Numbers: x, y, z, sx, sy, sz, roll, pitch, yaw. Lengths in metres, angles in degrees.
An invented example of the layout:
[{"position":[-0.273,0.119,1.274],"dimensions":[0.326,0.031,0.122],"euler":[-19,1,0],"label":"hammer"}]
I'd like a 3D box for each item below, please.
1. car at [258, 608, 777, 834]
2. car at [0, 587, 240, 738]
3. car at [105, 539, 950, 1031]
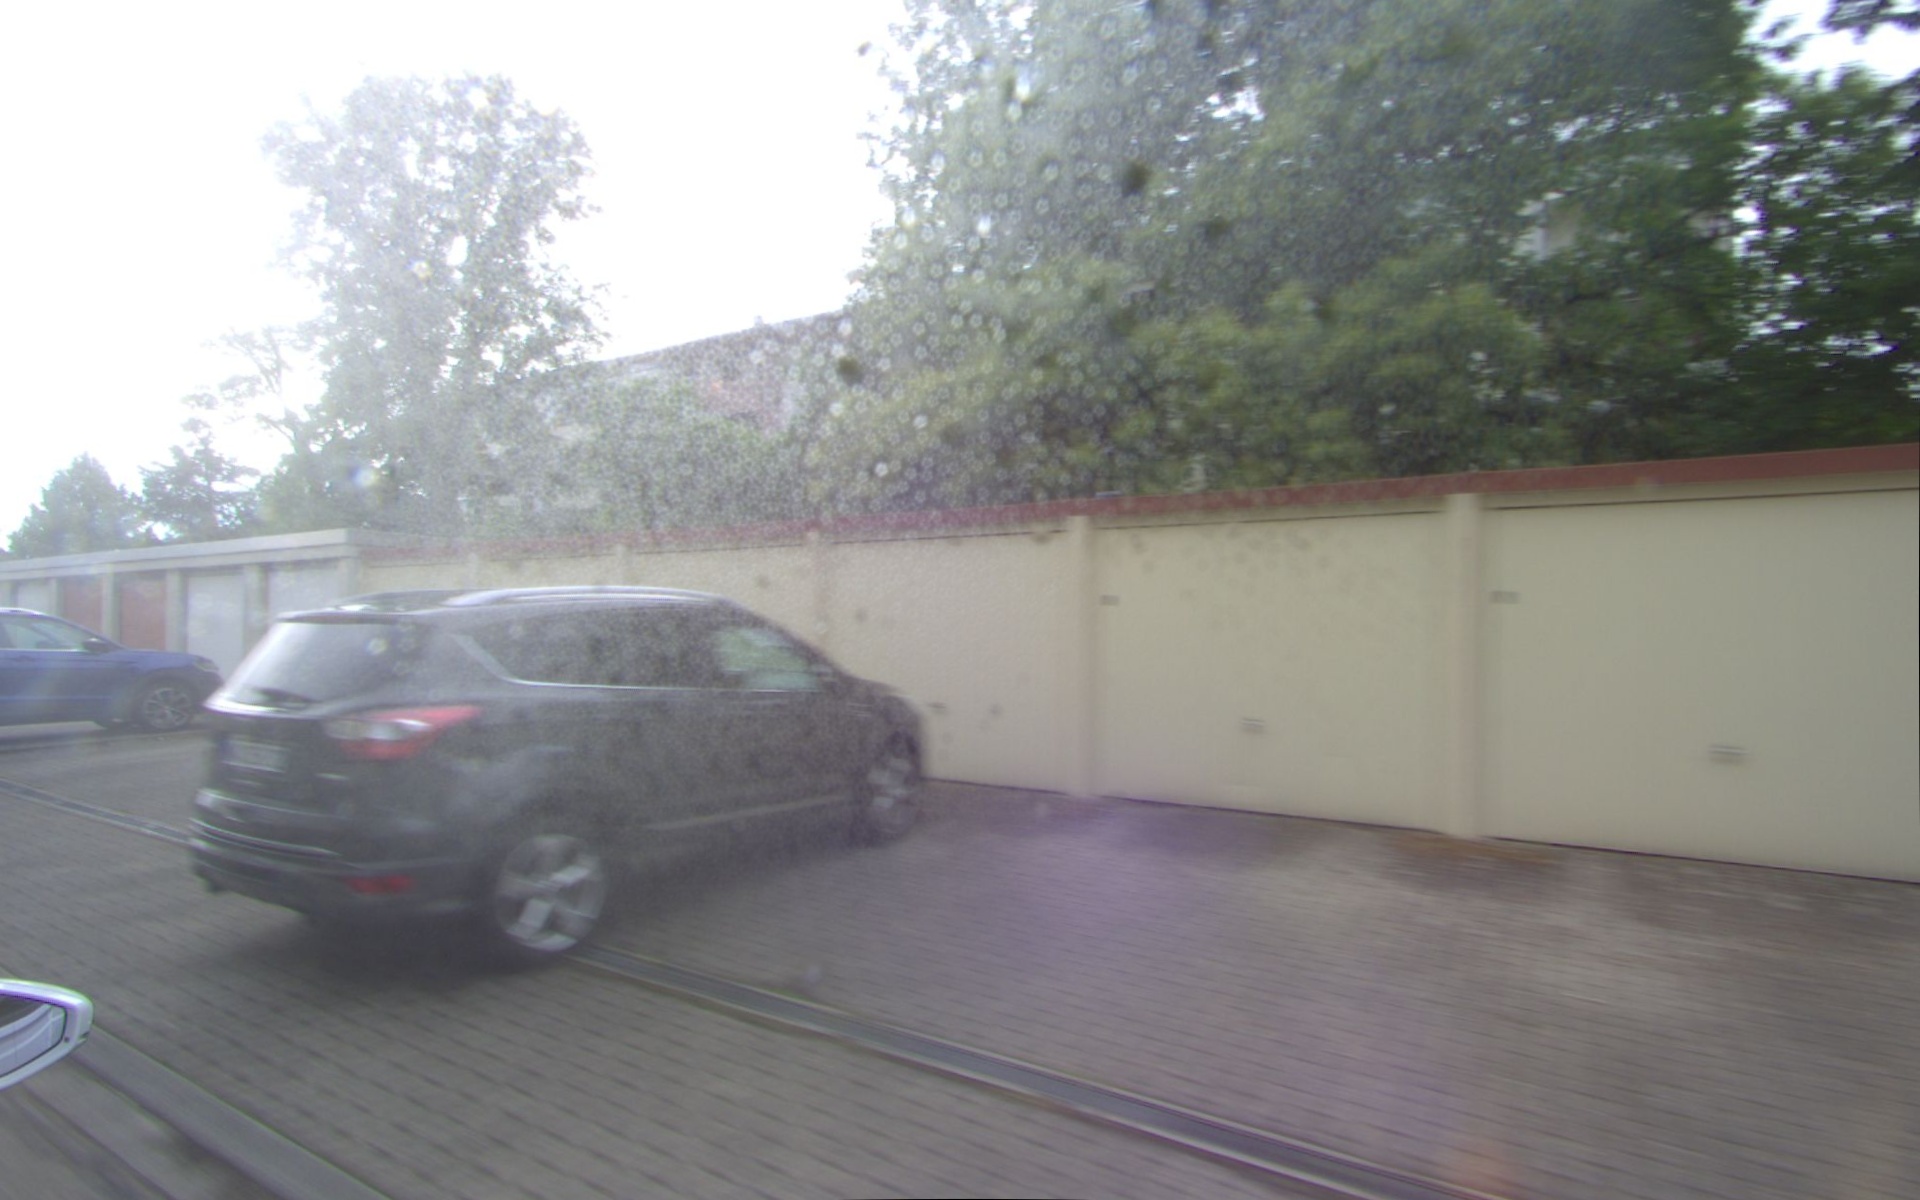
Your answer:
[{"position":[-3.624,0.831,8.833],"dimensions":[1.971,1.465,3.750],"euler":[0,0,32],"label":"car"},{"position":[-11.533,0.706,12.255],"dimensions":[1.971,1.726,3.979],"euler":[0,0,32],"label":"car"},{"position":[-1.994,0.653,5.865],"dimensions":[1.971,1.750,4.187],"euler":[0,0,32],"label":"car"}]
